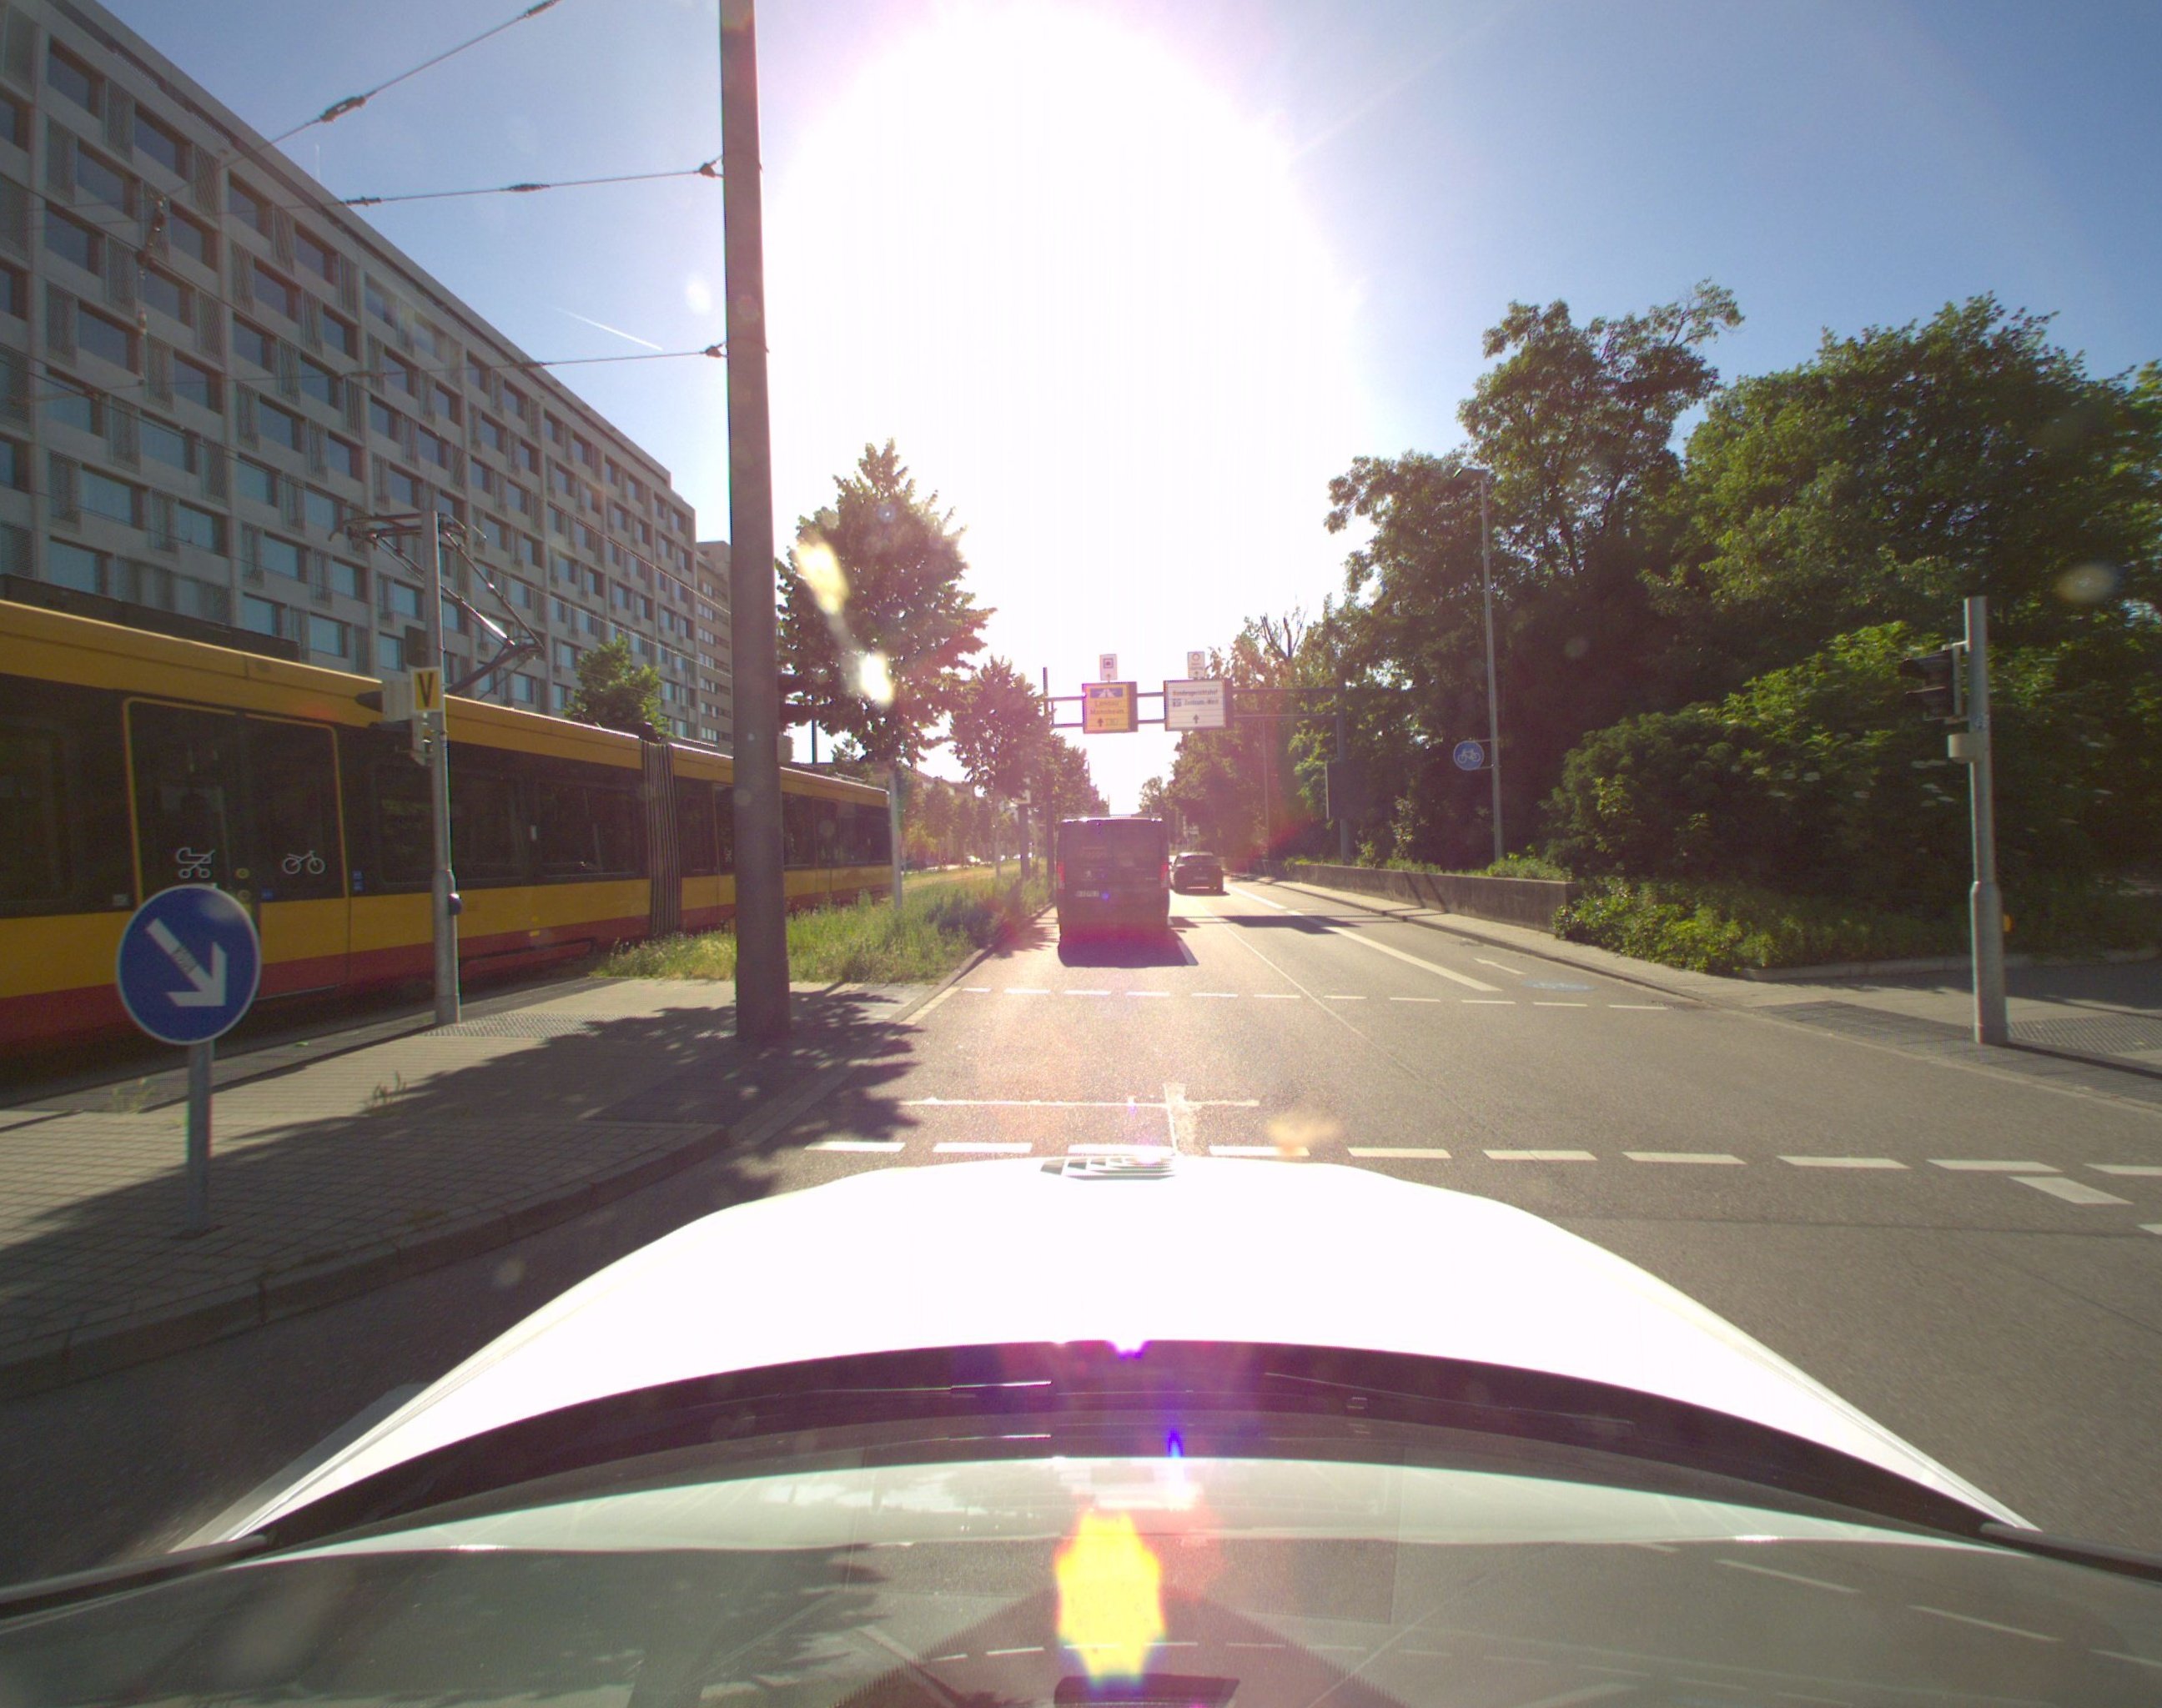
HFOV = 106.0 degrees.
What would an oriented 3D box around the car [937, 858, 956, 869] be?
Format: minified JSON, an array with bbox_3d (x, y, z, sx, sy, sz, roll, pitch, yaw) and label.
[{"bbox_3d":[-20.986,1.495,127.380,1.985,1.552,4.004,-1,0,4],"label":"car"}]

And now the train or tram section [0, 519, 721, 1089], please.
[{"bbox_3d":[-7.658,-0.316,8.205,1.984,3.669,11.334,-1,0,6],"label":"train or tram section"}]

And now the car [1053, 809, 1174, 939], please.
[{"bbox_3d":[0.652,0.348,16.182,2.074,2.249,4.003,-1,0,2],"label":"car"}]

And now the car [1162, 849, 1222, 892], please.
[{"bbox_3d":[4.064,0.583,30.282,1.757,1.462,4.001,-1,0,1],"label":"car"}]

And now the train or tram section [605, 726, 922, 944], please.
[{"bbox_3d":[-6.535,-0.320,19.630,1.984,3.669,11.702,-1,0,6],"label":"train or tram section"}]
